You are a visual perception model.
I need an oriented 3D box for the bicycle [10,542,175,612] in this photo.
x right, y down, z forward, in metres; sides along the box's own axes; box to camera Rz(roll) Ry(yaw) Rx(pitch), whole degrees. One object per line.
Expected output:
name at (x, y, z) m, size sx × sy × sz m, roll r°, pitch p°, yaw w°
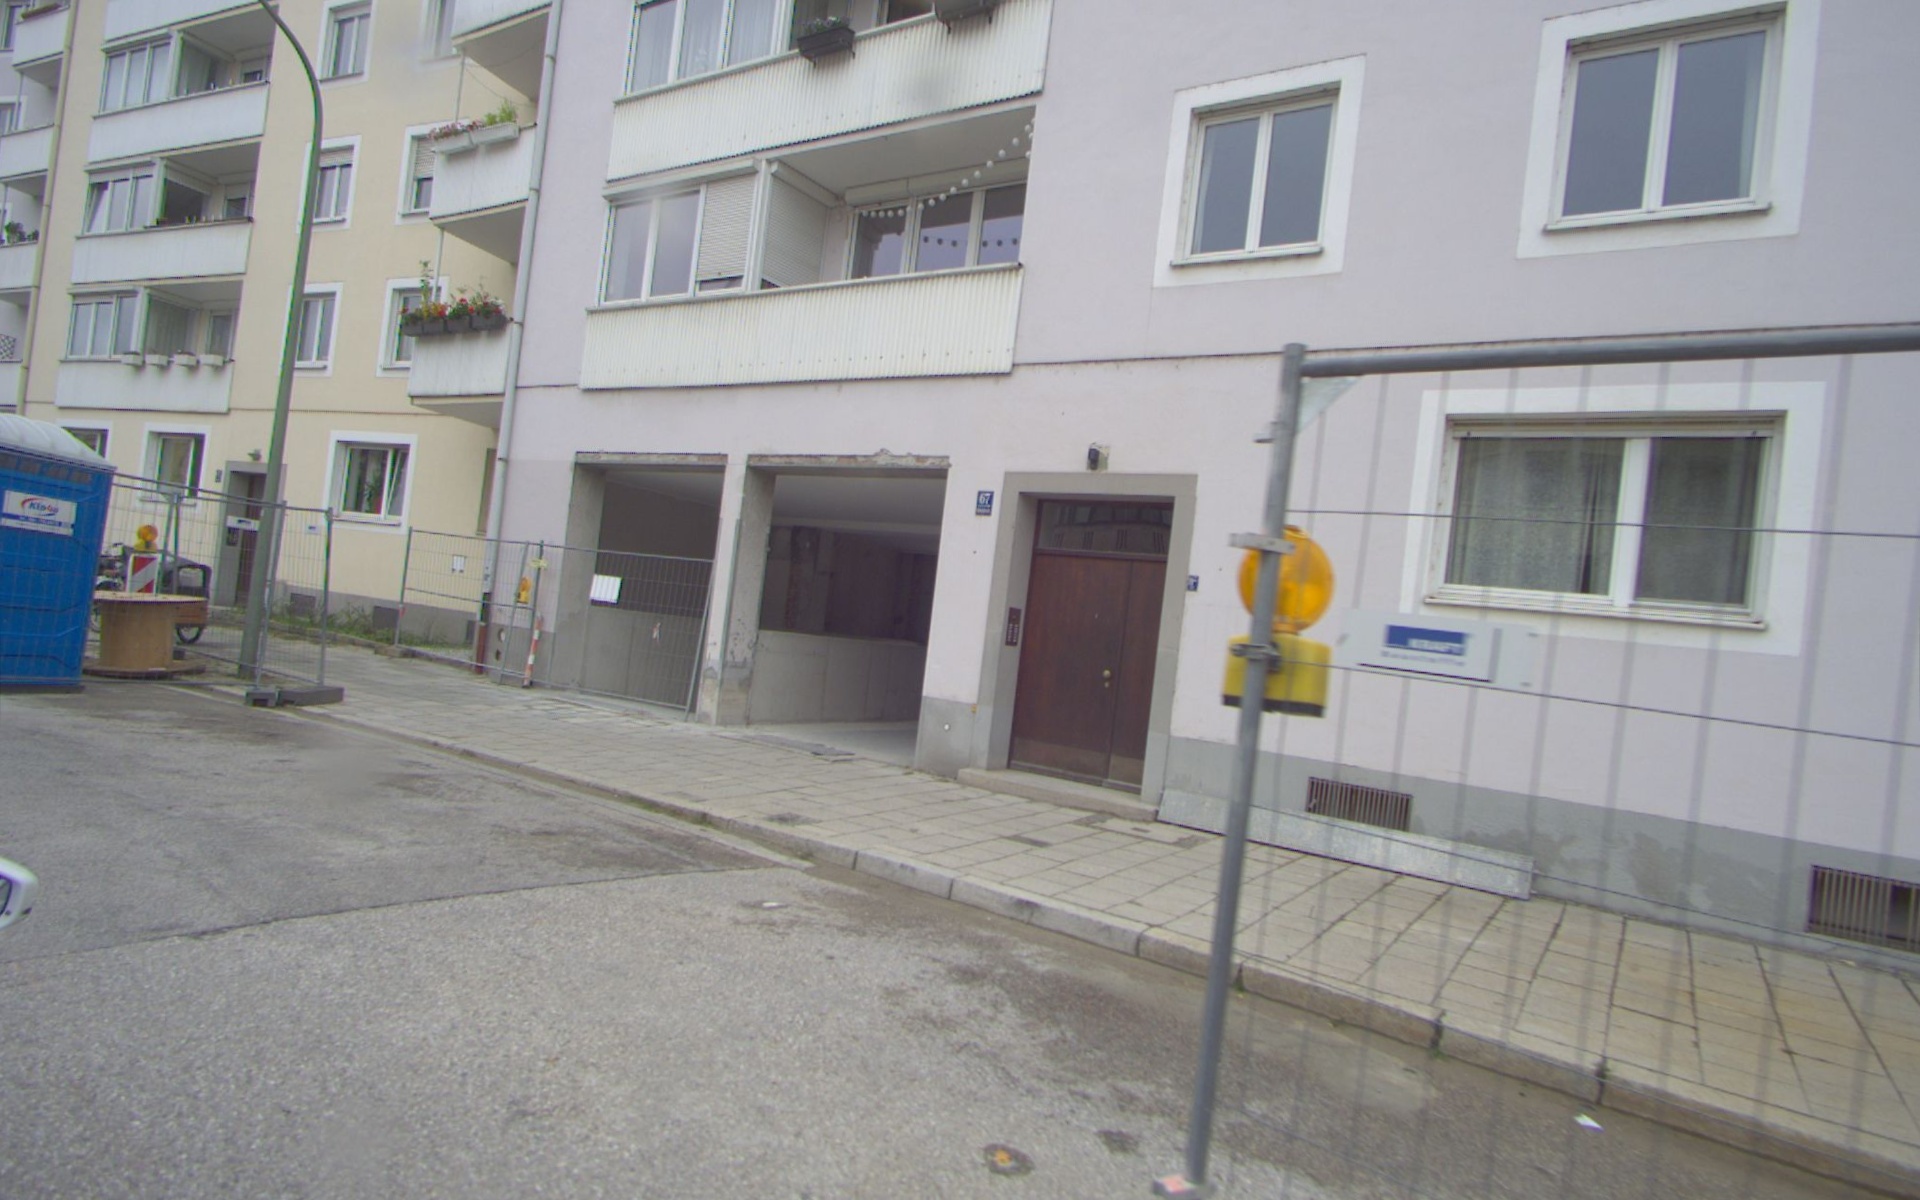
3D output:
bicycle at (-17.227, -0.427, 20.065) m, size 0.903 × 1.082 × 2.240 m, roll 6°, pitch -2°, yaw 24°

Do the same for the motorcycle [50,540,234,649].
motorcycle at (-11.697, -0.079, 14.383) m, size 2.462 × 1.235 × 0.935 m, roll 6°, pitch -1°, yaw 24°
